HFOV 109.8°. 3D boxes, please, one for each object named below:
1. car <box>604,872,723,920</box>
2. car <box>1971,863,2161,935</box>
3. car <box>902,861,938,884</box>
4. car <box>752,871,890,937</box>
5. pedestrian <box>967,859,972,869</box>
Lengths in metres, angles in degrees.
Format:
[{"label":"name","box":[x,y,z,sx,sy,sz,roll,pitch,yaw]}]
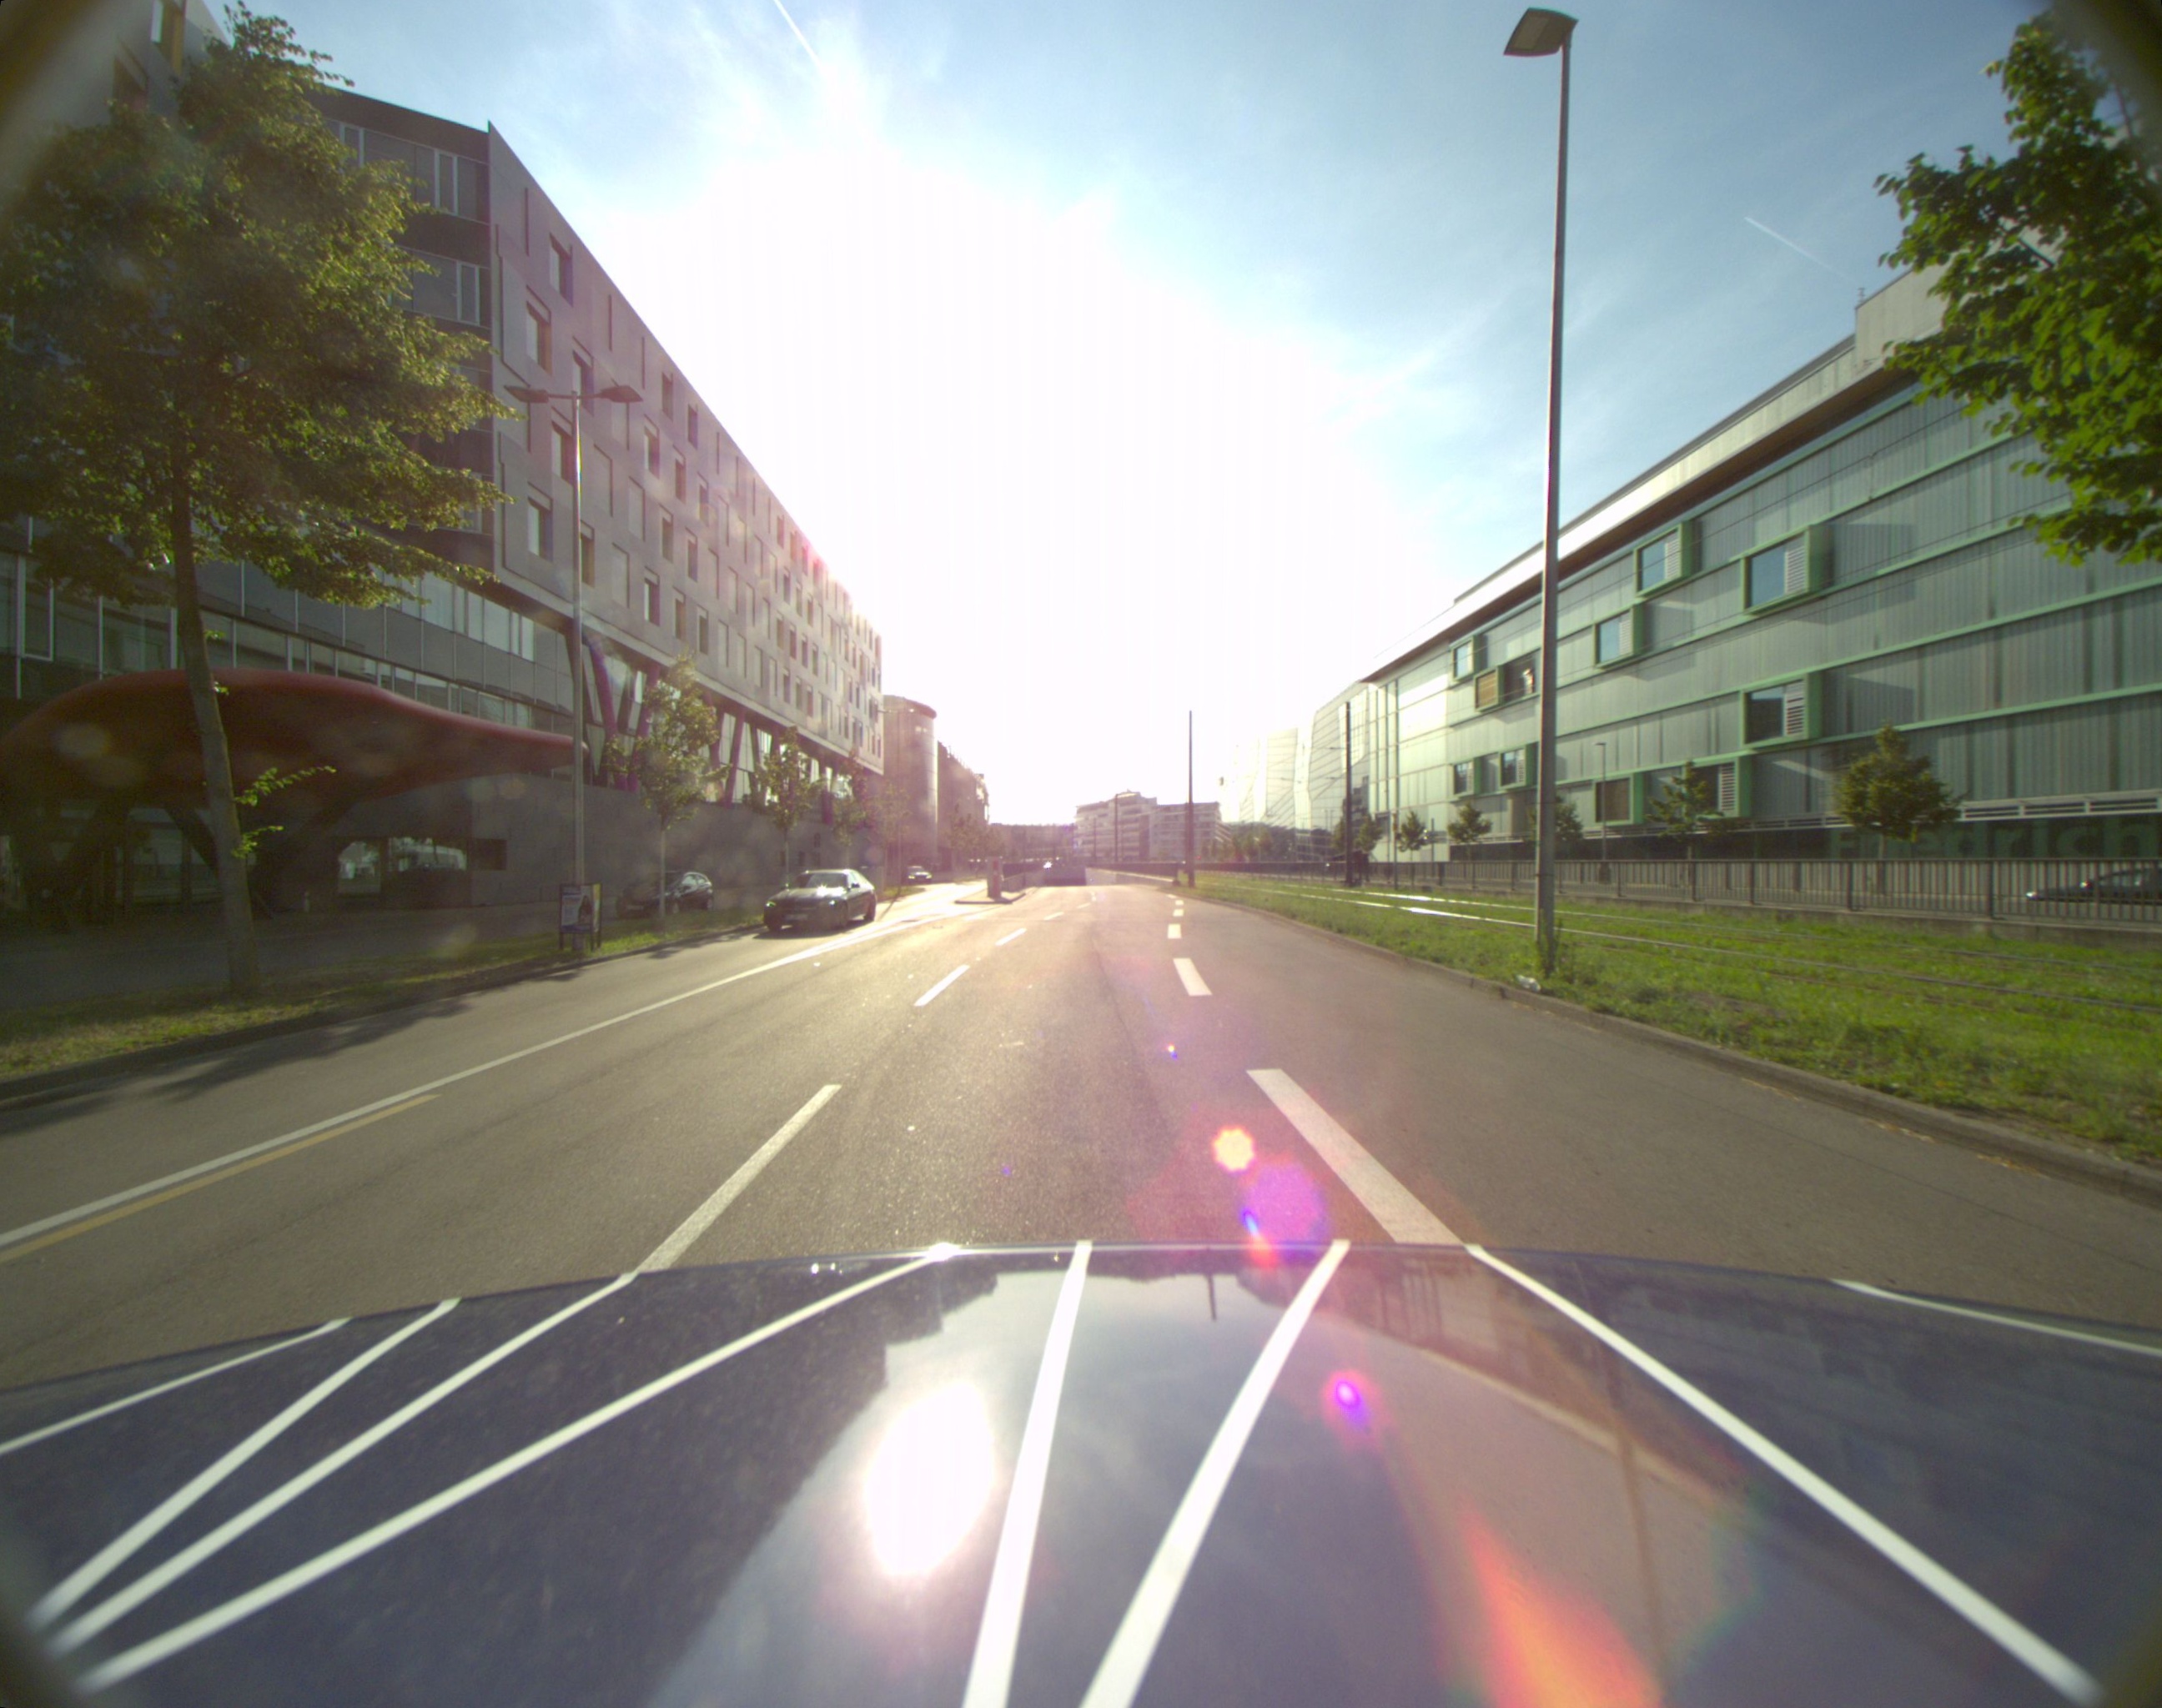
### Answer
[{"label":"car","box":[-13.338,1.281,24.580,1.696,1.381,4.198,0,-1,-3]},{"label":"car","box":[25.965,1.057,18.929,1.999,1.677,4.726,0,-1,-2]},{"label":"car","box":[-12.707,1.394,59.808,1.898,1.419,4.461,-1,4,-24]},{"label":"car","box":[-6.568,1.194,19.789,1.843,1.441,4.557,-1,-1,2]},{"label":"pedestrian","box":[-19.266,1.742,131.677,0.725,1.776,0.771,-1,0,-2]}]
